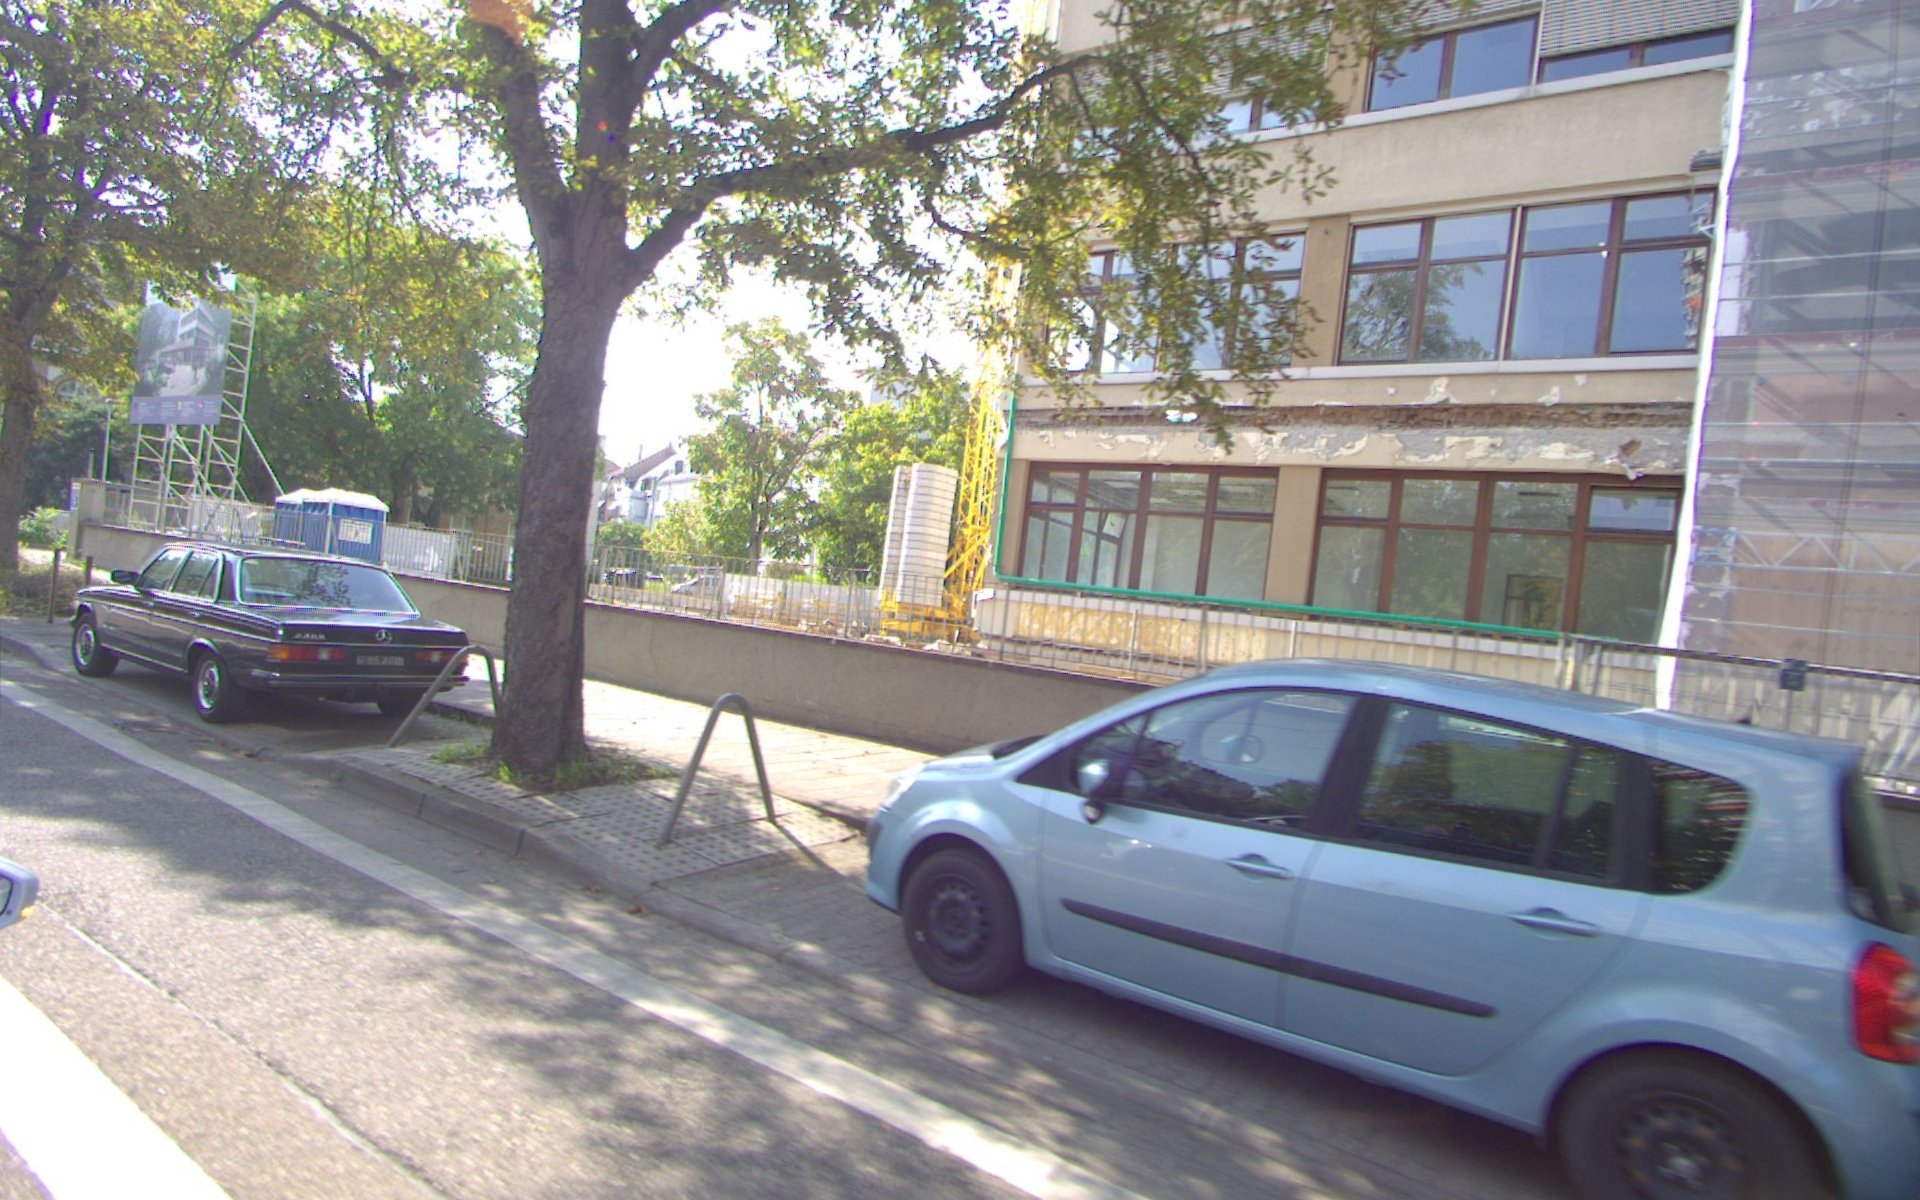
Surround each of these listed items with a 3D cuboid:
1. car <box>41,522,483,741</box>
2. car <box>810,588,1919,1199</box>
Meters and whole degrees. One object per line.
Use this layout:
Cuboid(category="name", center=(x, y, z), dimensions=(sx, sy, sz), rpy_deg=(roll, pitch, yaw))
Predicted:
Cuboid(category="car", center=(-6.656, 0.181, 9.413), dimensions=(4.643, 1.395, 1.754), rpy_deg=(6, 1, 34))
Cuboid(category="car", center=(1.424, 1.005, 4.231), dimensions=(3.814, 1.637, 1.665), rpy_deg=(7, 1, 34))
